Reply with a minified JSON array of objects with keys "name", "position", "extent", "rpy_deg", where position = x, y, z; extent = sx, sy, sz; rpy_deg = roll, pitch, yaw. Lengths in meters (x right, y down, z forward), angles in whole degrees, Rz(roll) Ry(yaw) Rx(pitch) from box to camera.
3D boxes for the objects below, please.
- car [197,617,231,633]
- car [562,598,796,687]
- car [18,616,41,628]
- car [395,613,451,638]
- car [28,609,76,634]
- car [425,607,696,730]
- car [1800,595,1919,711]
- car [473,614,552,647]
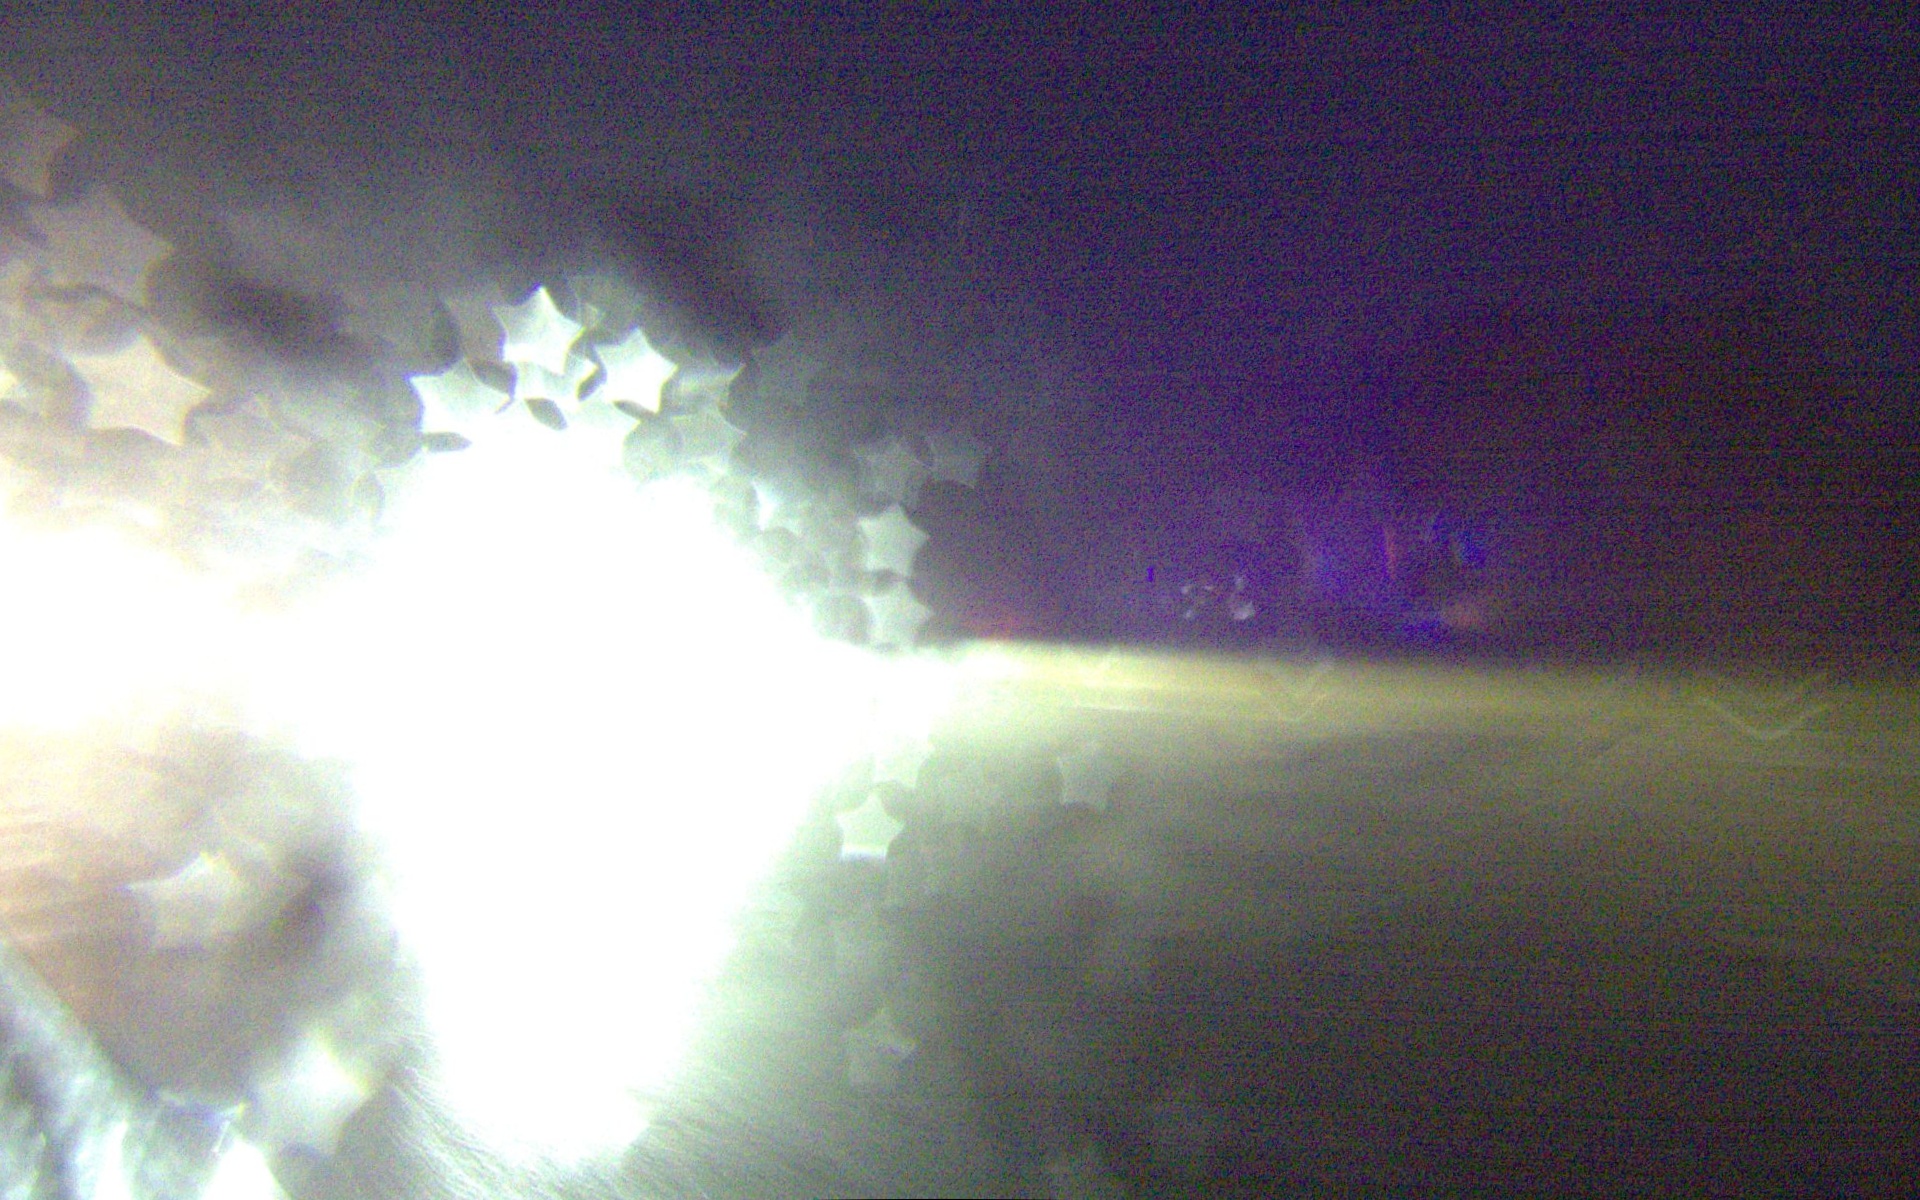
[{"name":"car","position":[-77.385,2.600,105.010],"extent":[4.457,1.569,1.861],"rpy_deg":[0,0,40]},{"name":"car","position":[-5.558,0.730,19.603],"extent":[5.165,1.487,1.972],"rpy_deg":[0,0,43]},{"name":"car","position":[-133.856,3.160,145.617],"extent":[4.457,1.569,1.861],"rpy_deg":[0,0,40]},{"name":"car","position":[-36.434,1.689,68.583],"extent":[4.458,1.569,1.860],"rpy_deg":[0,0,41]},{"name":"car","position":[-62.136,1.458,69.223],"extent":[4.587,1.572,1.972],"rpy_deg":[0,0,42]},{"name":"car","position":[-5.714,0.839,14.276],"extent":[3.999,1.452,1.973],"rpy_deg":[0,0,42]},{"name":"car","position":[14.399,0.720,13.843],"extent":[4.457,1.569,1.861],"rpy_deg":[0,0,41]},{"name":"car","position":[-22.554,1.502,50.979],"extent":[4.457,1.569,1.861],"rpy_deg":[0,0,40]}]
